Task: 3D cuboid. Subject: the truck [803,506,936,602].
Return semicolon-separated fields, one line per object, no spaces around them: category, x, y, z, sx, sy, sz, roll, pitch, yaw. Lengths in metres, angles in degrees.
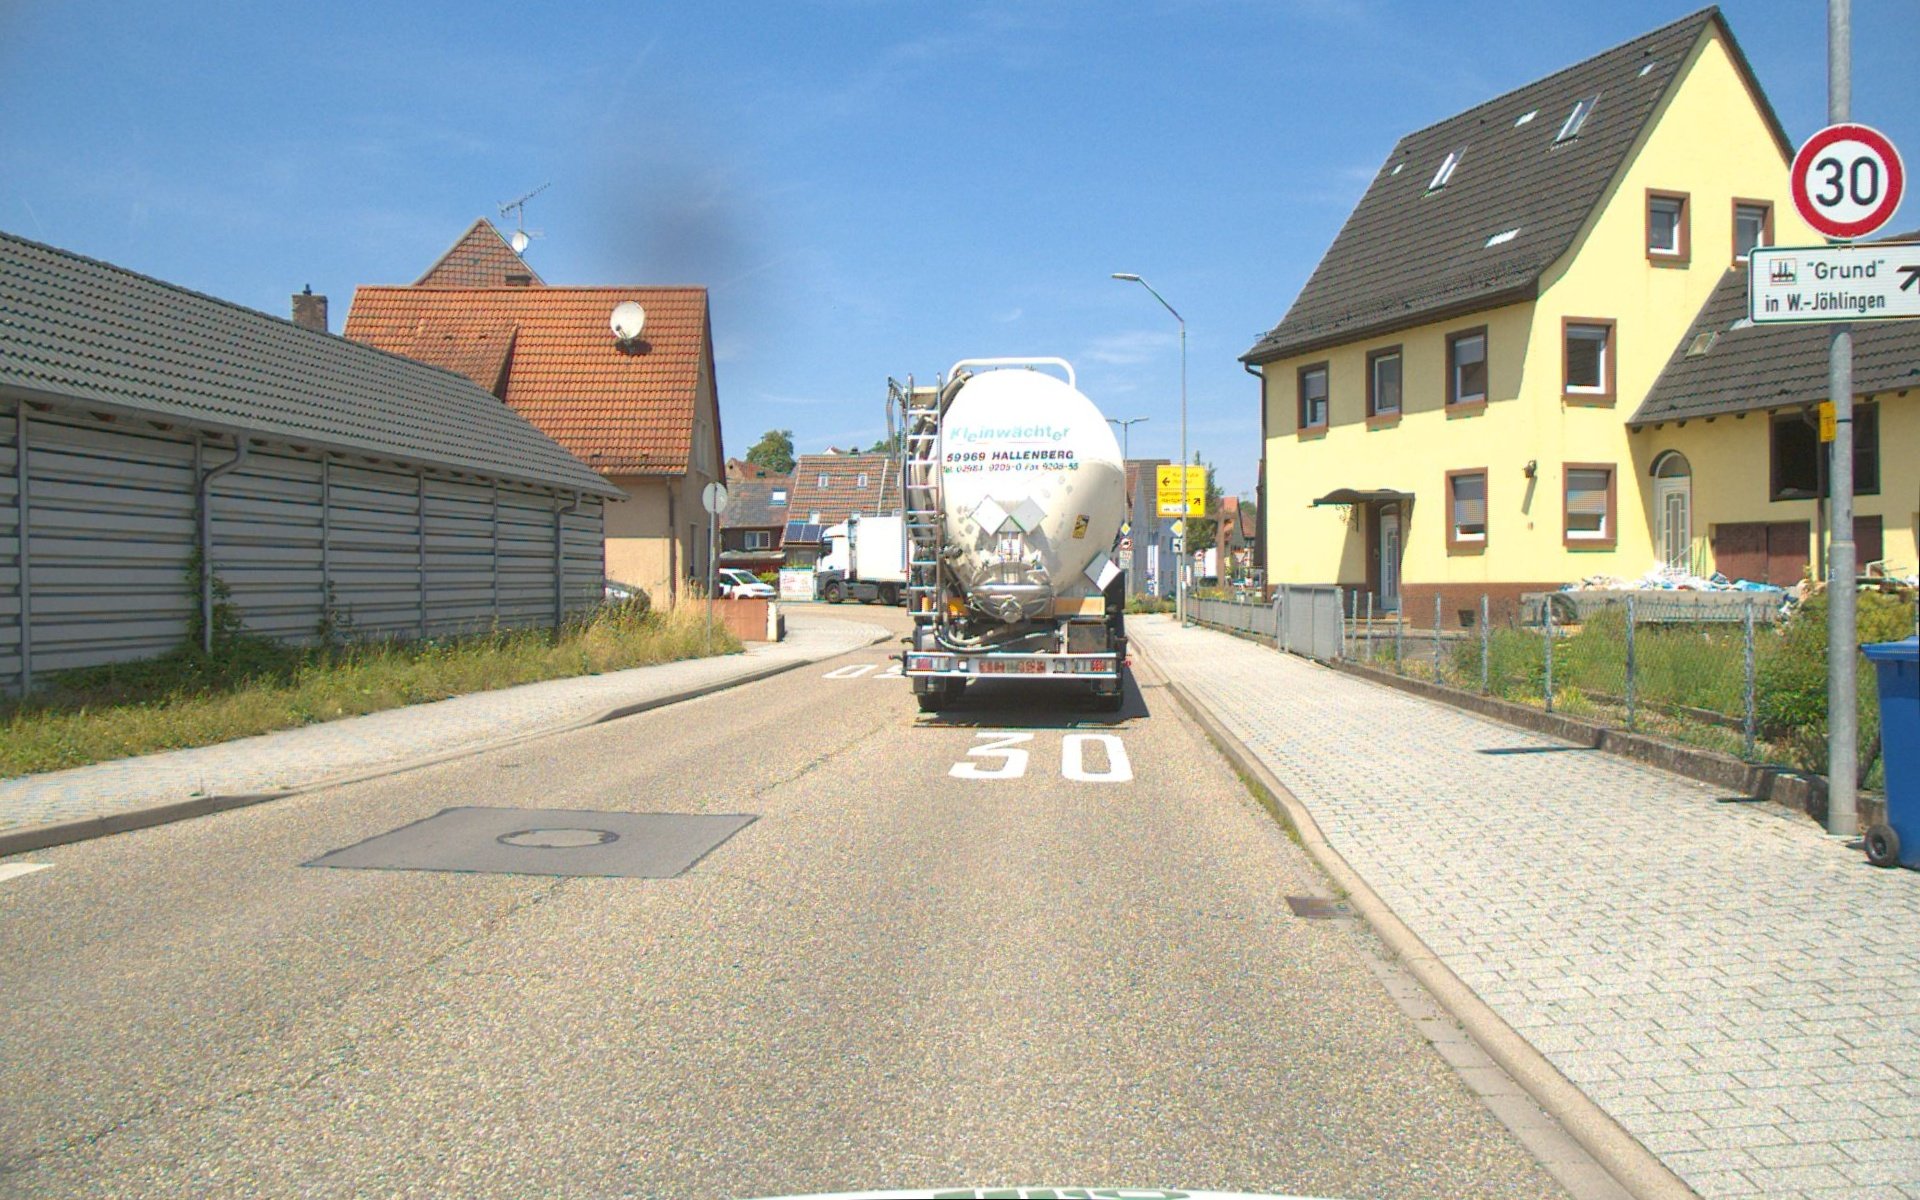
truck;-4.380;-2.133;79.669;5.820;4.478;3.101;0;0;38

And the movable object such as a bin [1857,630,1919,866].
movable object such as a bin;4.682;0.686;7.746;0.555;1.076;0.649;-1;0;-12

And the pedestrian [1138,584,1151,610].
pedestrian;14.566;-0.241;130.324;0.753;2.049;0.976;1;0;25

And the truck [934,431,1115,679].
truck;1.254;-0.743;29.808;2.925;4.034;5.582;0;0;4

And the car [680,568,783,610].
car;-10.470;-0.529;75.785;4.418;1.816;1.878;1;2;26

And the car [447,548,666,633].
car;-8.408;-0.198;34.690;4.037;1.666;1.867;-1;0;5

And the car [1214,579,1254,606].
car;16.884;-0.472;101.766;1.779;1.663;4.209;0;0;18

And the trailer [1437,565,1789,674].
trailer;10.238;0.278;25.893;5.278;1.573;2.122;0;0;-25

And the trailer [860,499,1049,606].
trailer;-0.513;-1.957;73.674;3.096;4.352;12.379;0;0;-28

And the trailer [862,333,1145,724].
trailer;0.857;-0.753;22.876;2.890;4.017;11.624;0;0;4

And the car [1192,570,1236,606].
car;14.620;-0.658;95.030;1.951;1.946;4.327;1;-1;16
